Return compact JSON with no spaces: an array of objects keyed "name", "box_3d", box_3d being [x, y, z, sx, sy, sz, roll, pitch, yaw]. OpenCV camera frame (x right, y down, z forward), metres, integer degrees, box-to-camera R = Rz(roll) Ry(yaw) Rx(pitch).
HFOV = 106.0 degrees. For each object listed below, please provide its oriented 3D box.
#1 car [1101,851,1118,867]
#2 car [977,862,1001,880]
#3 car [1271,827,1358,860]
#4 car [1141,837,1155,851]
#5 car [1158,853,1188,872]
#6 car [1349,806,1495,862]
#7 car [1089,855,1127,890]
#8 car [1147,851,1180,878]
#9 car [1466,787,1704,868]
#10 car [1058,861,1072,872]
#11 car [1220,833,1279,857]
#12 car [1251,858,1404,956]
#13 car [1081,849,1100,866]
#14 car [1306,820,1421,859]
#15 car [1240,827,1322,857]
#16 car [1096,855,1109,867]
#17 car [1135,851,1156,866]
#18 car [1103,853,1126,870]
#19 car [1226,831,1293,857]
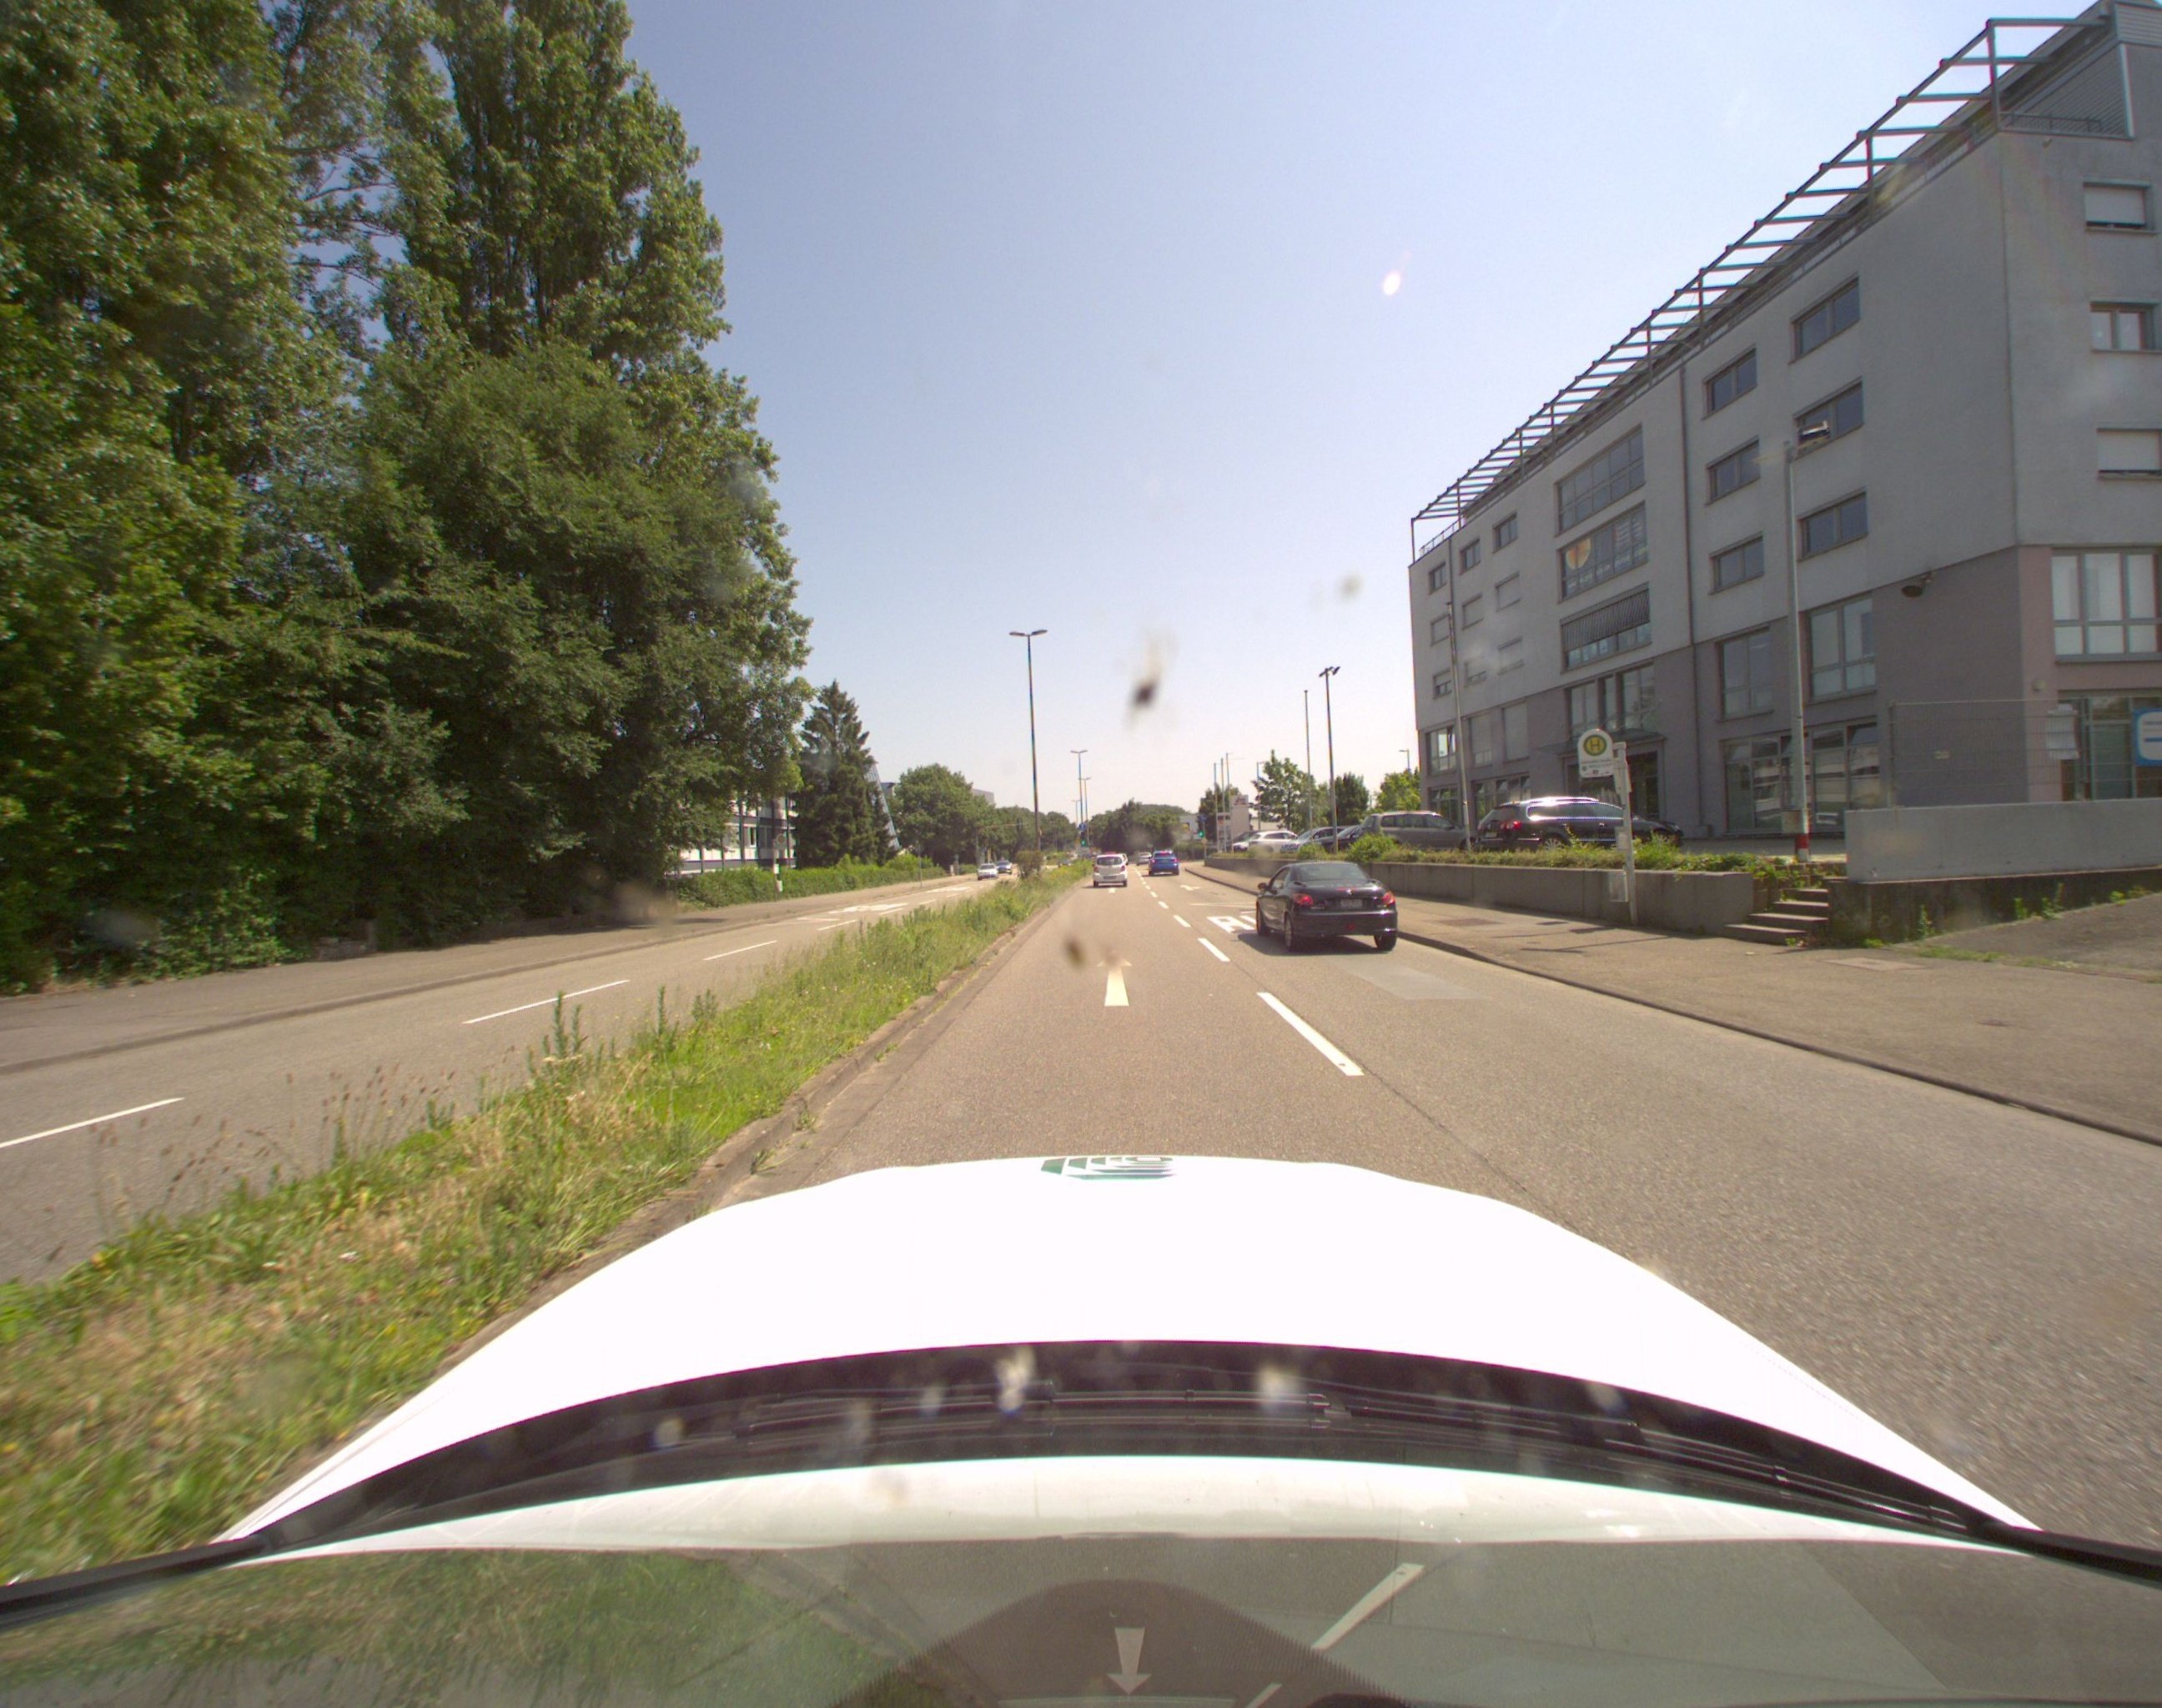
[{"name":"car","box_3d":[3.338,0.609,96.523,1.771,1.740,3.997,-3,0,-2]},{"name":"car","box_3d":[-8.136,1.472,72.318,1.732,1.413,4.367,-3,0,-3]},{"name":"car","box_3d":[12.090,-0.520,42.227,3.930,1.452,1.755,-3,0,-17]},{"name":"car","box_3d":[10.686,-1.580,130.021,1.765,2.013,3.988,-3,0,-2]},{"name":"car","box_3d":[7.438,0.670,65.691,1.446,1.376,3.510,-3,0,21]},{"name":"car","box_3d":[11.840,-0.681,28.458,4.213,1.647,2.000,-3,0,0]},{"name":"car","box_3d":[1.334,0.847,39.363,1.741,1.520,3.749,-1,1,3]},{"name":"car","box_3d":[5.317,0.641,52.831,1.820,1.580,3.608,-2,1,3]},{"name":"car","box_3d":[12.049,-0.606,19.715,4.484,1.583,2.000,-3,0,0]},{"name":"car","box_3d":[-1.963,1.499,101.304,1.571,1.269,3.725,-3,0,-3]},{"name":"car","box_3d":[12.724,-0.670,61.599,3.975,1.544,1.999,-3,0,-1]},{"name":"car","box_3d":[4.028,0.796,13.855,1.621,1.364,3.607,-1,1,2]},{"name":"car","box_3d":[1.077,0.363,90.984,1.815,1.661,3.996,-3,1,-3]},{"name":"car","box_3d":[12.285,-0.611,35.625,4.306,1.369,2.000,-3,0,-1]},{"name":"car","box_3d":[12.286,-0.699,50.129,4.519,1.544,2.000,-3,0,1]},{"name":"car","box_3d":[3.214,1.028,121.288,1.791,1.690,4.001,-3,0,1]},{"name":"car","box_3d":[7.100,0.501,89.838,1.986,1.420,4.001,-3,0,1]},{"name":"car","box_3d":[3.188,0.723,77.996,1.986,1.442,4.001,-3,0,1]},{"name":"car","box_3d":[12.840,-0.703,58.840,4.333,1.544,1.999,-3,0,-1]}]
